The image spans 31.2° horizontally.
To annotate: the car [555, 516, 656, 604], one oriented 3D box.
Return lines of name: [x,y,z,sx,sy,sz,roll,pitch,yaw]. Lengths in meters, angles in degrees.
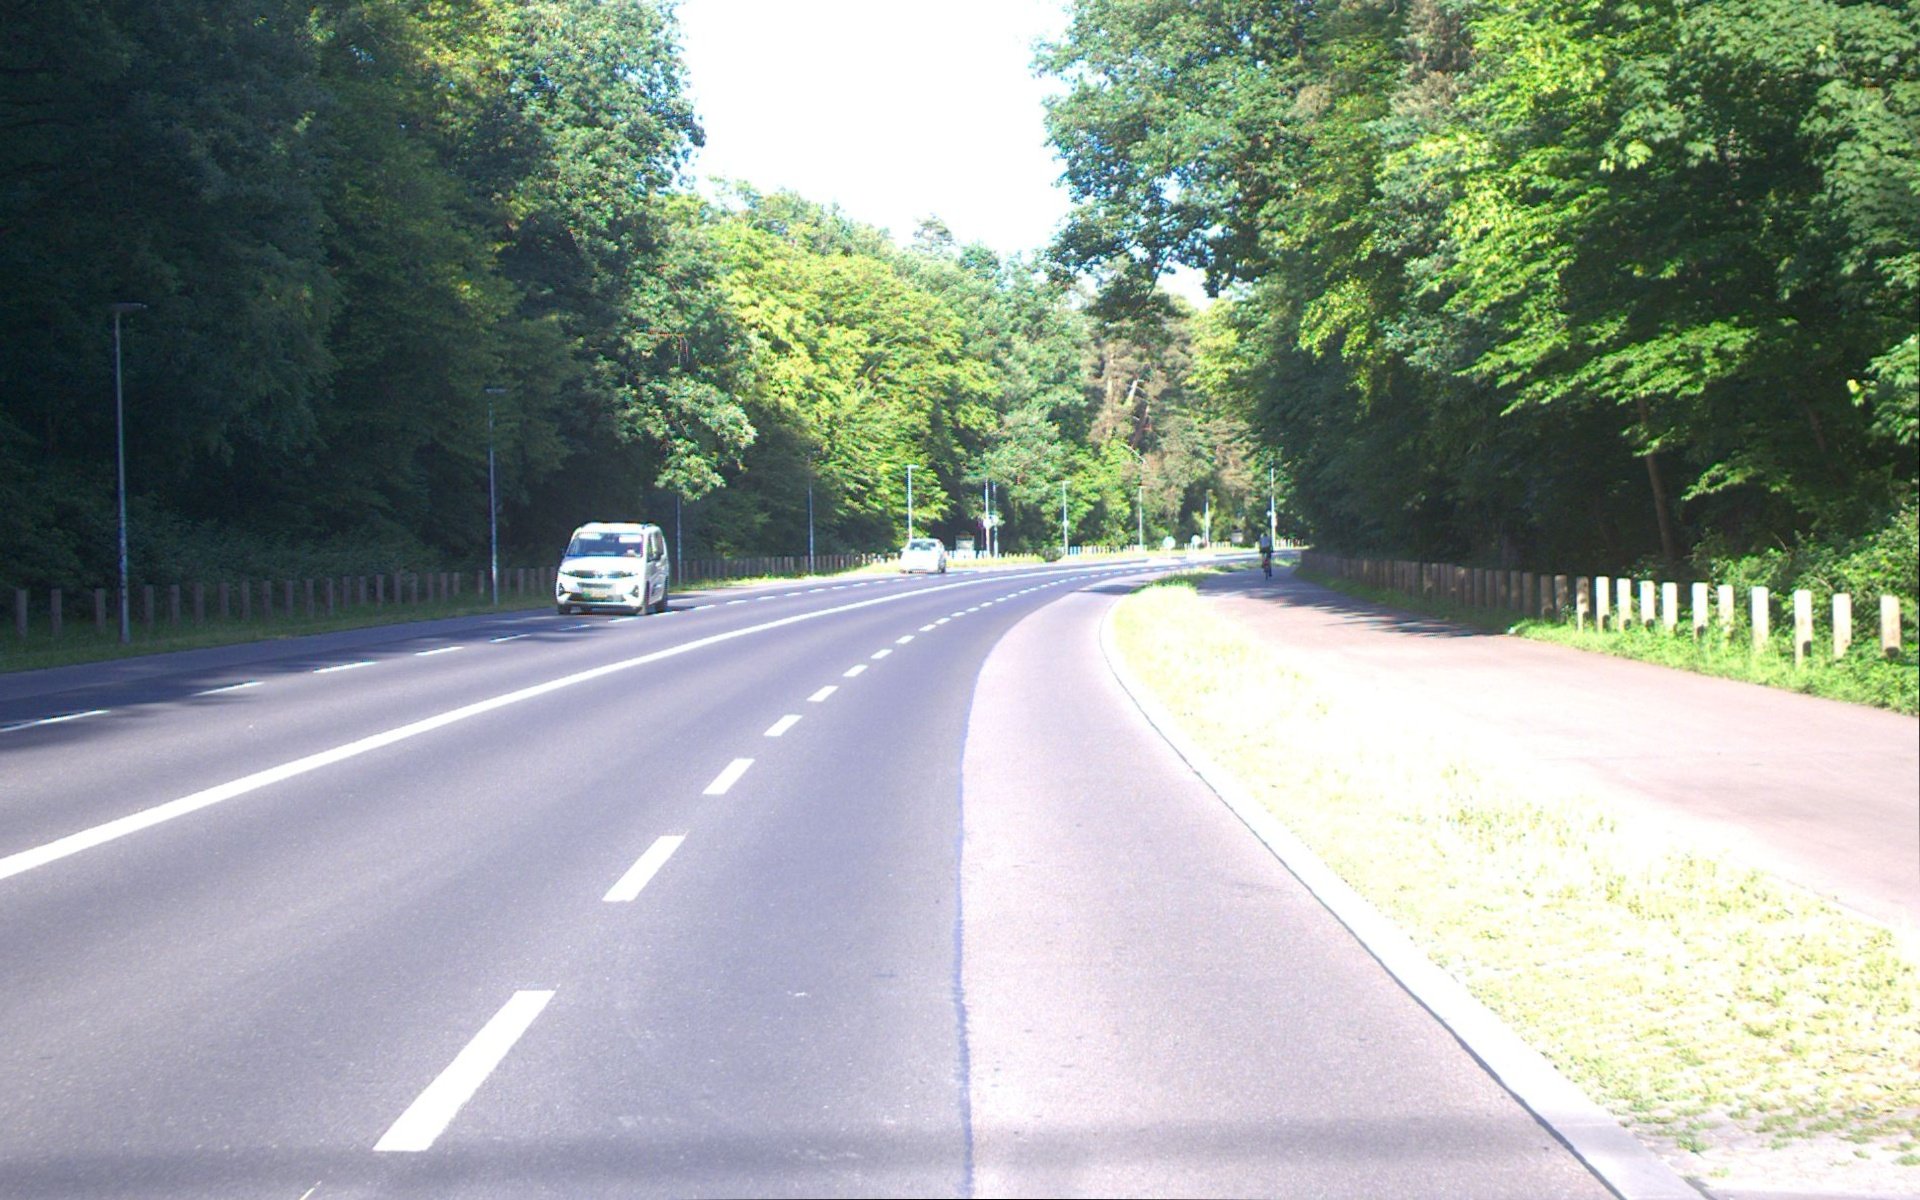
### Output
car: [-7.141,-0.826,69.571,1.705,1.703,4.000,0,1,-1]

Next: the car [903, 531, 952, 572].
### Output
car: [-1.366,-2.094,146.752,1.784,1.703,4.000,0,1,4]
